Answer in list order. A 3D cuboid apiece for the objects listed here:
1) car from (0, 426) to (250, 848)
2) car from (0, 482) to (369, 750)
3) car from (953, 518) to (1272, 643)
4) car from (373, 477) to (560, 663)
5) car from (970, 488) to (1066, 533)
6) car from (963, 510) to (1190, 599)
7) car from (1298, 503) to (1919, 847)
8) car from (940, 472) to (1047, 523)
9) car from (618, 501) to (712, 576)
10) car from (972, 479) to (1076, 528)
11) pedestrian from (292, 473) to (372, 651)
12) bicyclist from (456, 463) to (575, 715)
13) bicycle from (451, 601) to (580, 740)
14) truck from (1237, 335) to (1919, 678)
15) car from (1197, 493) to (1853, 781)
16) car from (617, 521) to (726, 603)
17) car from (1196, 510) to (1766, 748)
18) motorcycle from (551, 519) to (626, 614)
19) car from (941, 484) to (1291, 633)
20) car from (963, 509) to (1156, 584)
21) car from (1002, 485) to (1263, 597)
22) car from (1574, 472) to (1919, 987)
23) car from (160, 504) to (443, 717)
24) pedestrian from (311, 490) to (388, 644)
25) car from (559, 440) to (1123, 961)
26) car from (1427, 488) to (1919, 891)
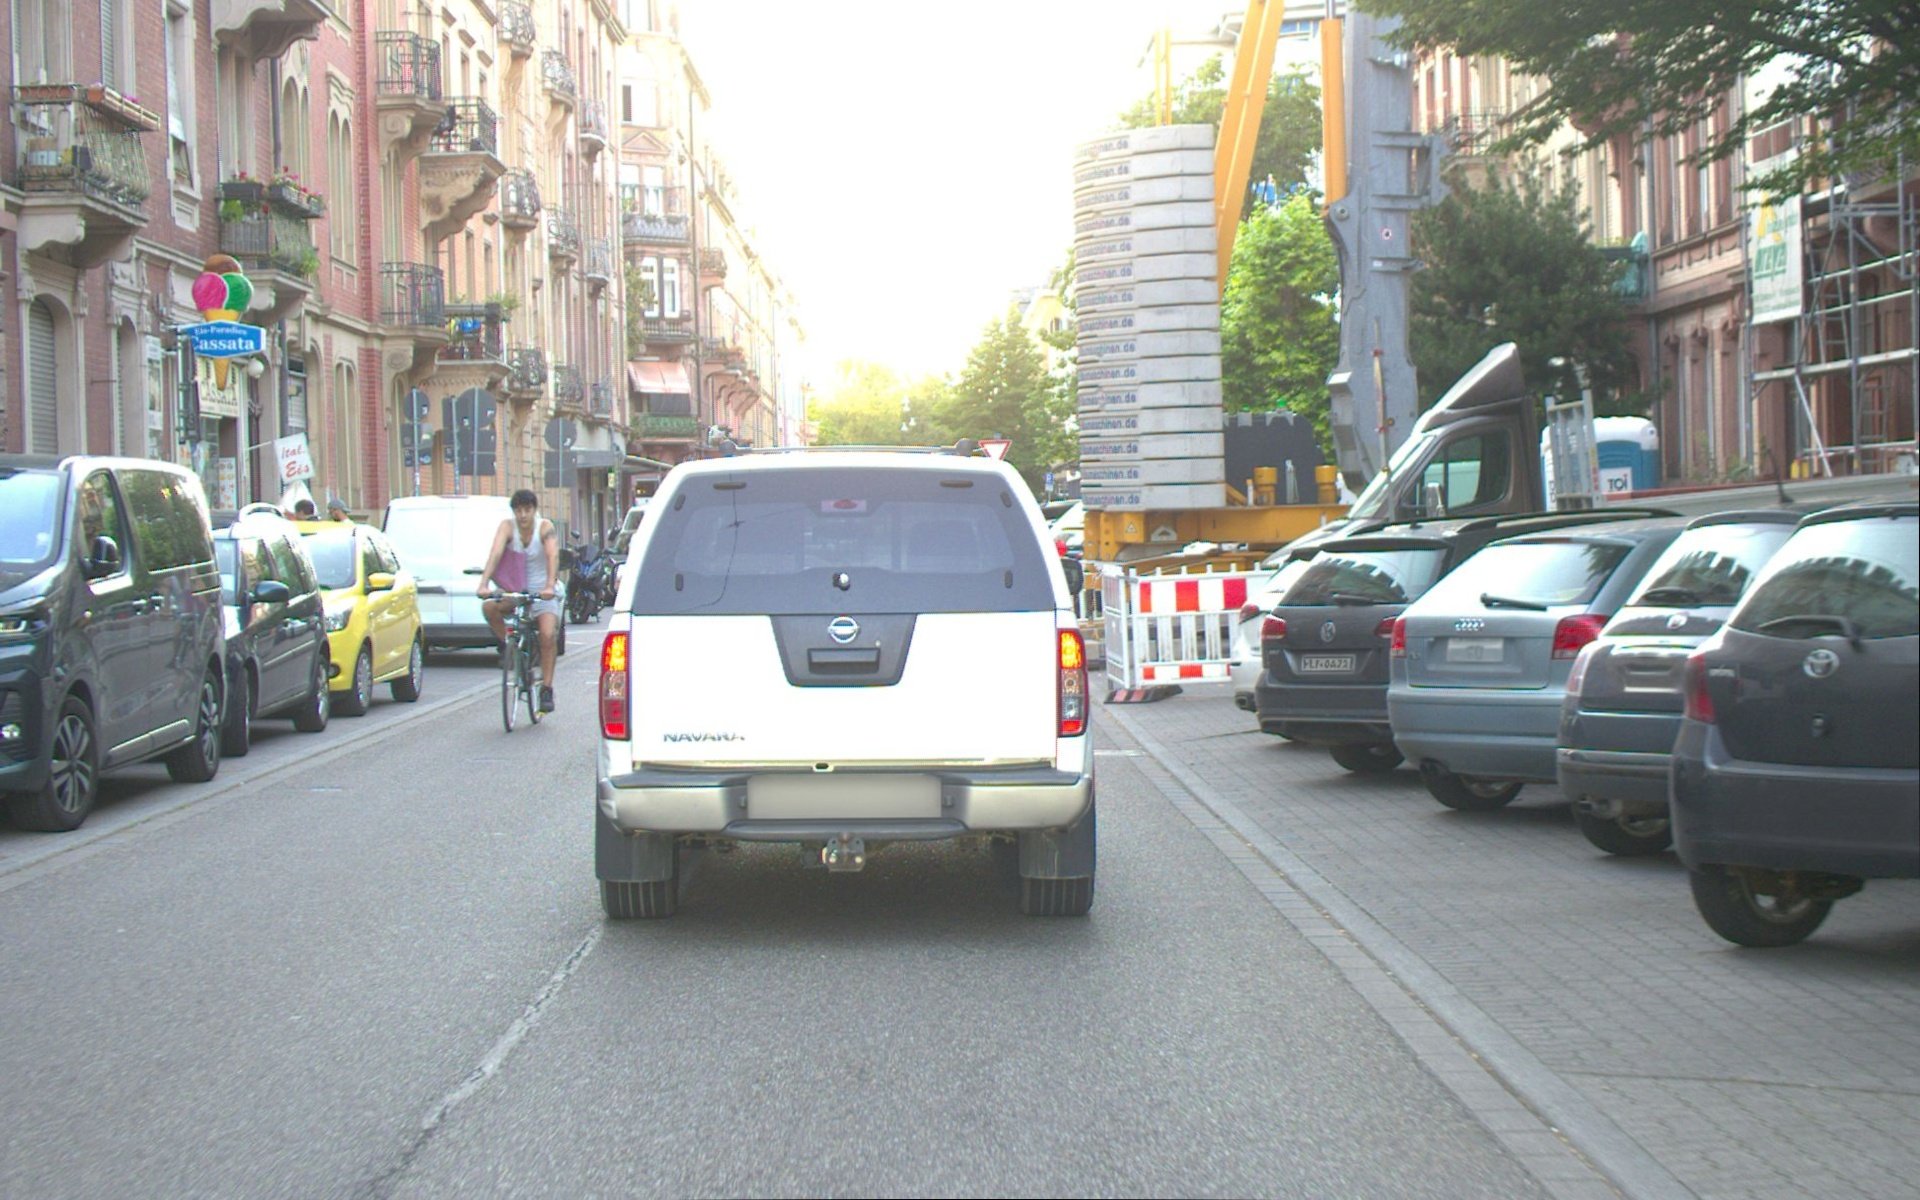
[{"bbox_3d":[-5.190,0.111,18.080,1.905,1.919,4.947,0,1,0],"label":"car"},{"bbox_3d":[-5.418,0.054,23.728,1.905,1.657,4.068,-1,1,1],"label":"car"},{"bbox_3d":[2.040,-0.277,46.286,4.195,1.616,1.819,0,1,2],"label":"car"},{"bbox_3d":[-5.344,-0.356,37.623,1.559,1.914,3.857,1,1,-1],"label":"car"},{"bbox_3d":[2.829,-4.339,167.187,4.588,2.170,1.819,0,1,2],"label":"car"},{"bbox_3d":[2.196,-0.864,64.573,4.195,1.616,1.819,0,1,2],"label":"car"},{"bbox_3d":[3.755,0.294,17.332,3.826,1.432,1.762,-4,3,-35],"label":"car"},{"bbox_3d":[1.471,-4.440,149.560,4.588,2.170,1.819,0,1,2],"label":"car"},{"bbox_3d":[-6.190,-1.305,72.427,1.710,1.525,4.000,0,1,-1],"label":"car"},{"bbox_3d":[2.863,-4.311,153.538,4.588,2.170,1.819,0,1,2],"label":"car"},{"bbox_3d":[-6.647,-0.405,36.430,0.738,1.863,0.618,0,1,-2],"label":"pedestrian"},{"bbox_3d":[-3.316,-0.093,25.719,0.800,1.843,0.944,0,1,-3],"label":"bicyclist"},{"bbox_3d":[-3.304,0.507,25.724,0.800,0.944,2.005,0,1,-3],"label":"bicycle"},{"bbox_3d":[5.752,-0.790,31.075,6.320,2.966,2.264,0,-1,1],"label":"truck"},{"bbox_3d":[3.355,0.145,20.041,3.882,1.525,1.637,-1,2,-40],"label":"car"},{"bbox_3d":[-5.546,-0.763,66.463,1.791,1.525,4.000,0,1,0],"label":"car"},{"bbox_3d":[3.491,0.140,22.898,3.548,1.459,1.611,-1,2,-32],"label":"car"},{"bbox_3d":[-5.663,-0.525,52.524,0.837,1.411,2.549,0,1,0],"label":"motorcycle"},{"bbox_3d":[1.946,-0.519,42.194,4.196,1.774,1.819,0,1,5],"label":"car"},{"bbox_3d":[2.204,-1.197,75.961,4.195,1.616,1.819,0,1,2],"label":"car"},{"bbox_3d":[2.812,-0.970,56.265,4.195,1.774,1.819,0,1,2],"label":"car"},{"bbox_3d":[3.948,0.296,11.432,3.396,1.469,1.775,-4,3,-32],"label":"car"},{"bbox_3d":[-5.291,0.030,28.038,1.499,1.588,3.856,-1,1,1],"label":"car"},{"bbox_3d":[-7.441,-0.406,41.912,0.617,1.863,0.739,0,1,22],"label":"pedestrian"},{"bbox_3d":[-0.413,0.288,14.116,1.933,1.788,4.622,0,1,0],"label":"car"},{"bbox_3d":[4.169,0.278,15.051,3.824,1.525,1.763,-3,1,-26],"label":"car"}]
